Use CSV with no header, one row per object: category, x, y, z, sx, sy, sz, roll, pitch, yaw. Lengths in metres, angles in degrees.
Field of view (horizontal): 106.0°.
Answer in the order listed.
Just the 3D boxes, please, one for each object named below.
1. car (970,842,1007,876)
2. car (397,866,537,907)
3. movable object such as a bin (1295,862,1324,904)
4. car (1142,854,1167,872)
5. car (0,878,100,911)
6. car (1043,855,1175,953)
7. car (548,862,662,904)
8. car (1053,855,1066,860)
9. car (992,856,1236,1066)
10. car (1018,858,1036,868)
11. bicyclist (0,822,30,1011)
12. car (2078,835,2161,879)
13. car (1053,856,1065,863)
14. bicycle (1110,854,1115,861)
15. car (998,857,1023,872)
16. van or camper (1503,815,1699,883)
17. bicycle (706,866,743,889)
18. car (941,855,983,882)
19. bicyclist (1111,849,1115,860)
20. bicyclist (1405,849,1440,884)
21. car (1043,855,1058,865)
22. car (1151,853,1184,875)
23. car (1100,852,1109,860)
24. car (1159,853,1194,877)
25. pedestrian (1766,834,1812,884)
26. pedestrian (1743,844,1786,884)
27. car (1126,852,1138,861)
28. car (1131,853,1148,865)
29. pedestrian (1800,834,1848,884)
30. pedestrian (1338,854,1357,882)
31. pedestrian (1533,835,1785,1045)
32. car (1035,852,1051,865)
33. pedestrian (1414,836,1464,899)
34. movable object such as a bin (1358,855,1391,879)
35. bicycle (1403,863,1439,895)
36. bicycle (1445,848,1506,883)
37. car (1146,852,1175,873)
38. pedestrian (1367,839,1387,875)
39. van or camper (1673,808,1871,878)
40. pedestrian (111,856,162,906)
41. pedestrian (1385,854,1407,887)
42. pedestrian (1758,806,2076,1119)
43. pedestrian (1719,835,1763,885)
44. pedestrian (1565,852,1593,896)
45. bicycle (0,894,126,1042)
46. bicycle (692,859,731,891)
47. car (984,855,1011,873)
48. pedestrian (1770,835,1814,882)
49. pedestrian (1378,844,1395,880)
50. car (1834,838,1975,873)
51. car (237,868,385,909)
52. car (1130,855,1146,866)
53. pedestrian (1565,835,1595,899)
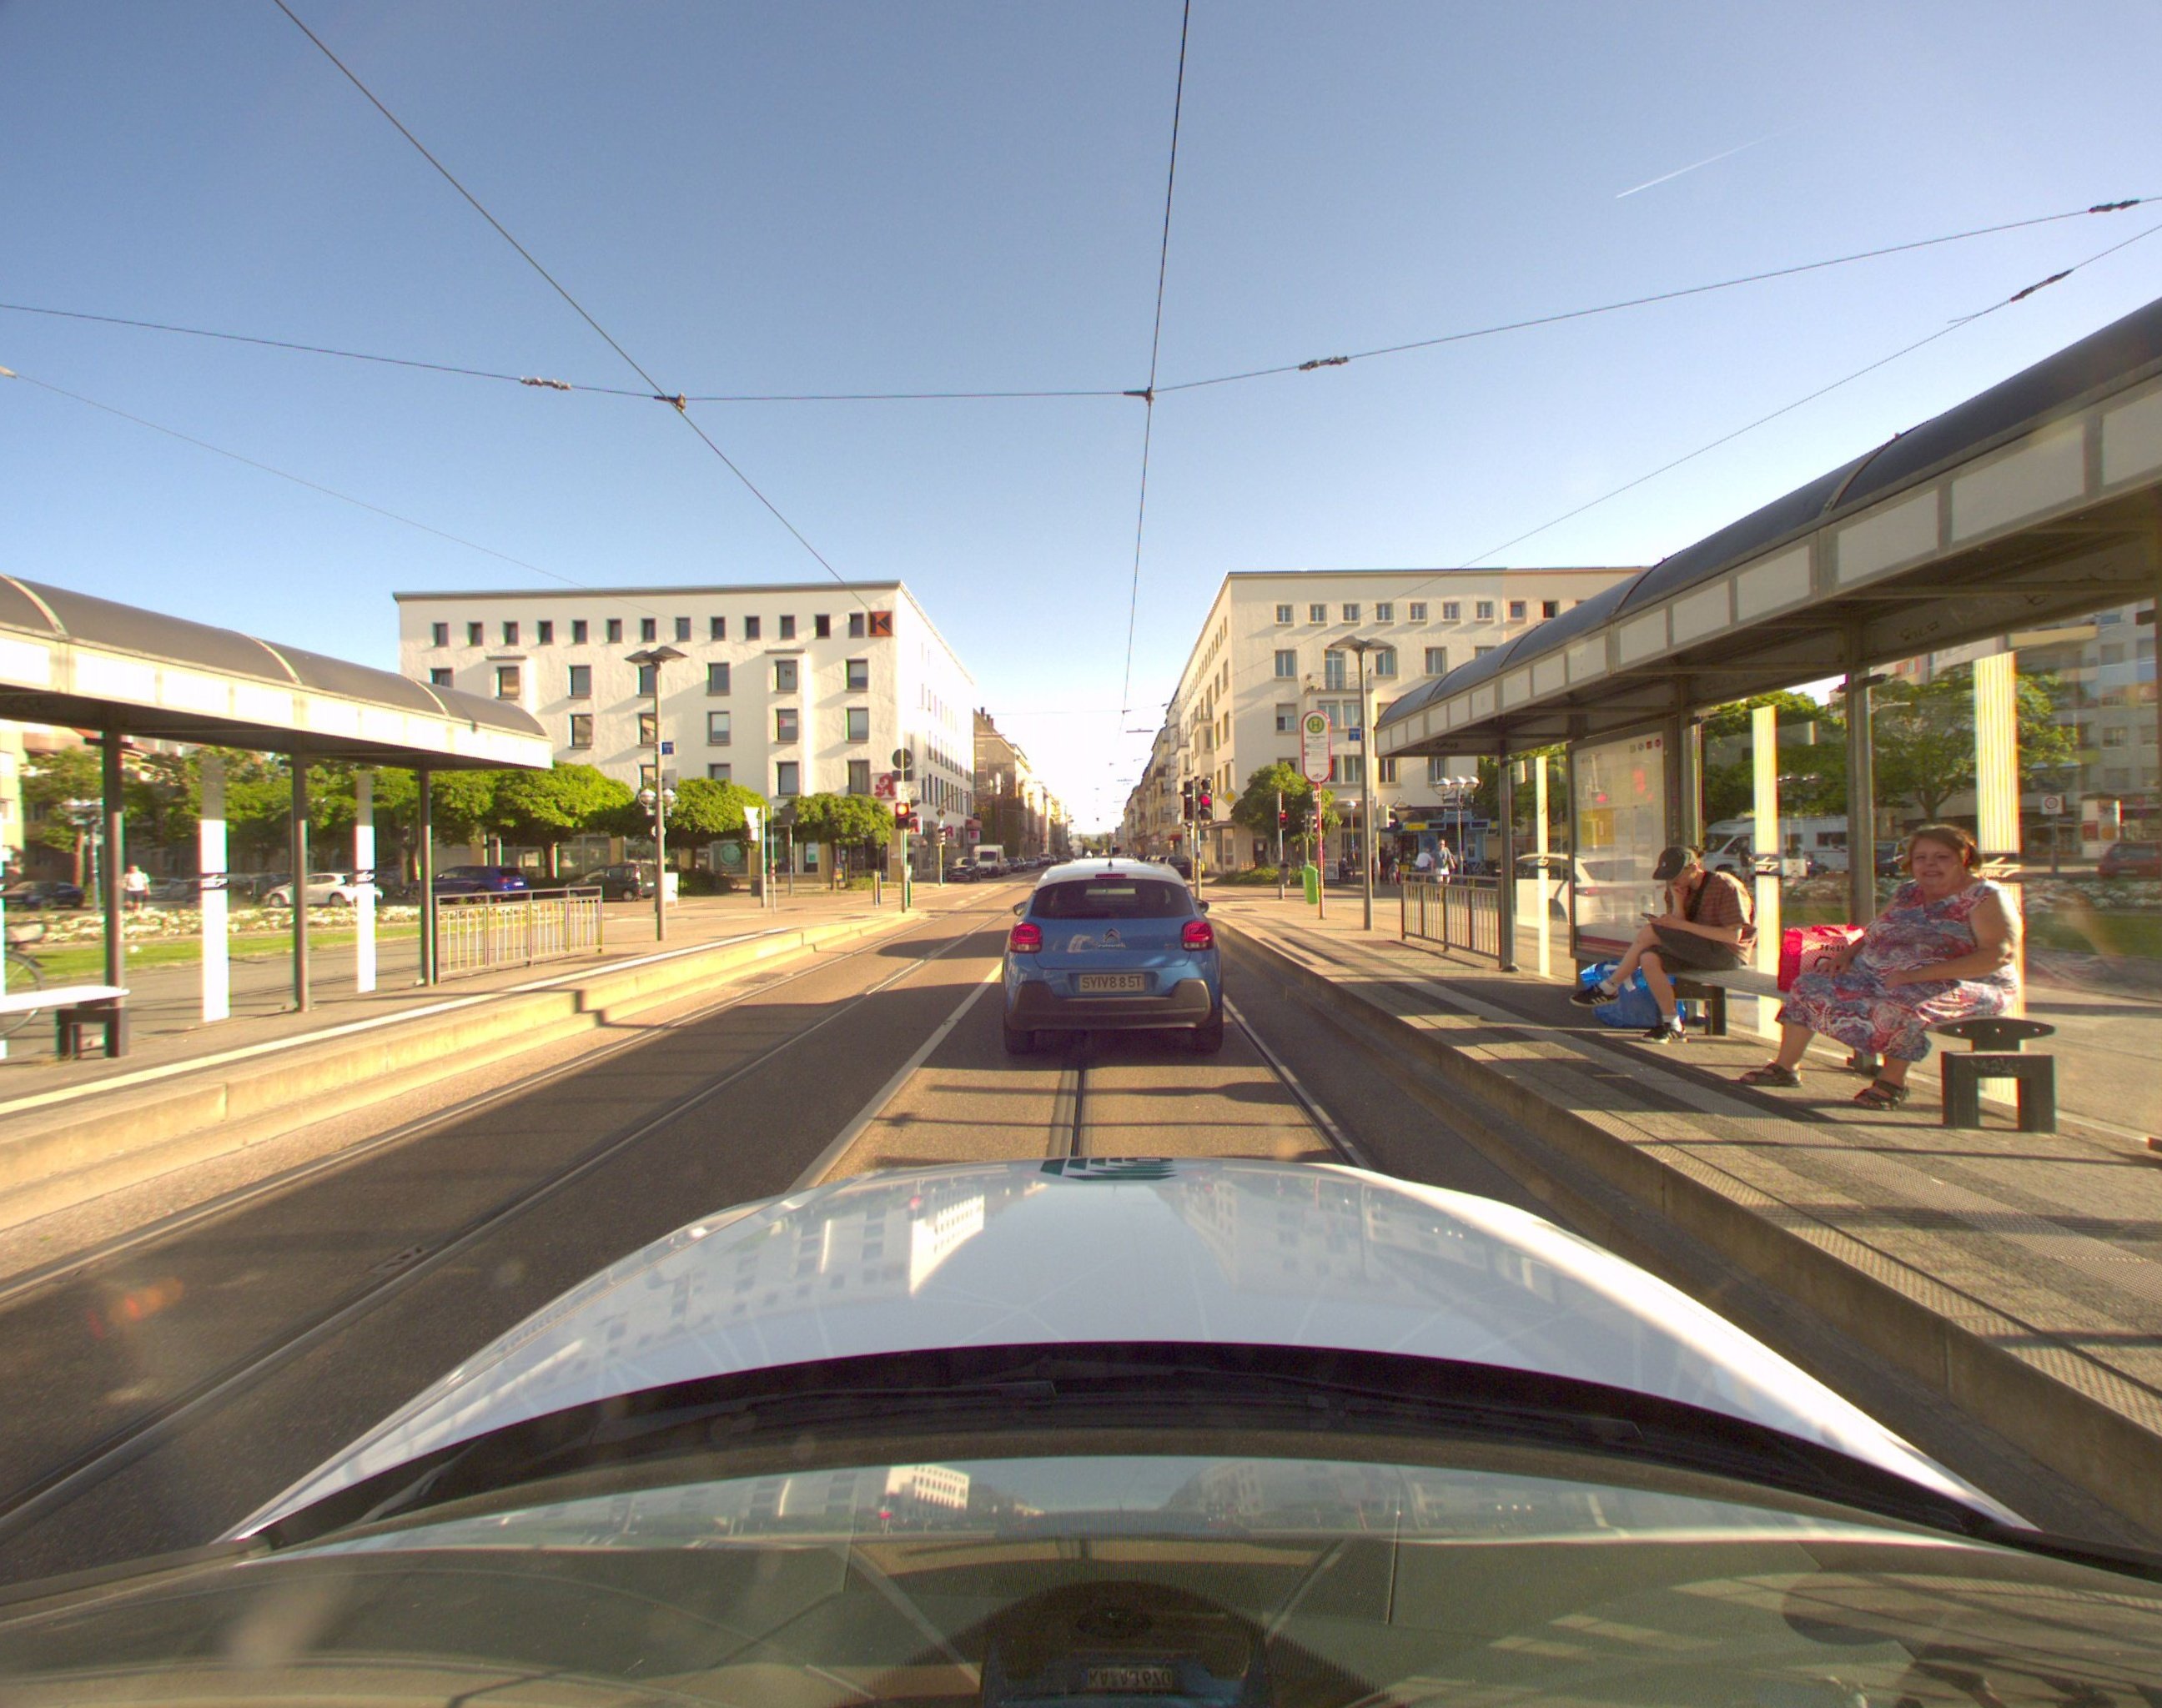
car,-7.124,0.381,63.119,2.078,2.542,6.206,0,0,1
car,-27.185,1.423,36.175,4.591,1.662,1.999,-1,0,-1
movable object such as a bin,4.348,0.550,15.512,0.447,0.786,0.489,-1,0,4
car,6.560,0.792,72.956,1.986,1.464,4.002,-1,0,2
car,-52.294,2.003,41.137,1.925,1.494,4.314,0,-1,-27
car,0.492,0.762,14.679,1.977,1.464,4.817,0,0,2
car,-21.245,1.273,36.434,3.973,1.706,1.826,-1,0,1
car,-4.862,0.775,185.211,1.981,1.156,4.528,-1,0,11
car,0.289,0.766,7.703,1.721,1.482,3.828,0,0,2
car,-6.883,1.138,103.526,1.987,1.325,3.923,0,-1,1
bicyclist,-8.771,0.481,6.052,0.822,1.455,0.880,0,-1,12
car,38.584,0.067,29.052,3.983,1.486,1.995,-1,0,-7
car,-4.180,1.011,154.456,1.986,1.156,4.002,-1,0,2
bicycle,6.312,0.674,162.472,0.916,1.389,3.133,-1,0,2
car,-6.756,1.028,78.484,1.987,1.398,4.157,0,-1,1
van or camper,22.857,-0.224,36.013,7.093,2.747,2.372,-1,1,2
bicycle,-19.108,1.248,43.708,0.615,1.190,2.624,-1,0,5
car,-7.656,0.920,52.760,1.987,1.569,4.403,2,-1,1
bicyclist,6.317,0.093,162.079,0.806,2.014,0.923,0,-1,2
bicyclist,12.145,0.425,28.971,0.941,1.225,0.939,0,0,36
car,-5.109,1.003,136.980,1.946,1.552,3.942,0,-1,4
car,6.033,0.680,57.252,1.986,1.464,4.002,-1,0,2
car,5.885,0.507,202.871,1.986,1.772,4.002,-1,0,2
car,6.111,0.684,52.444,1.902,1.464,4.002,-1,0,2
pedestrian,22.915,0.173,26.373,0.897,1.585,0.663,-1,0,5
pedestrian,22.659,0.333,27.012,0.897,1.279,0.606,-1,0,6
car,8.324,0.446,133.179,1.986,1.464,4.002,-1,0,2
car,7.303,0.589,102.051,1.986,1.464,4.507,-1,0,2
pedestrian,24.095,0.166,26.415,0.897,1.585,0.663,-1,0,5
pedestrian,12.713,0.657,38.863,0.733,1.316,0.631,-1,0,25
pedestrian,3.719,0.519,5.340,0.995,1.225,0.923,2,-1,1
car,-5.881,0.711,127.078,1.997,2.014,4.694,0,-1,4
pedestrian,11.028,0.421,25.133,0.978,1.878,1.128,-1,-1,-1
movable object such as a bin,14.442,0.647,40.053,1.194,1.153,1.218,-1,0,2
bicycle,12.097,0.878,28.929,0.711,1.061,2.338,0,0,35
bicycle,17.719,0.522,36.580,2.376,1.531,0.726,1,0,0
car,6.066,0.645,62.711,1.986,1.501,4.002,-1,0,2
pedestrian,15.322,0.167,42.222,0.781,1.839,0.679,-1,0,5
van or camper,30.121,-0.464,35.711,6.375,2.839,2.381,-1,0,5
pedestrian,-34.731,0.979,29.956,0.938,1.817,0.872,-1,0,13
pedestrian,14.175,0.745,36.623,0.727,1.409,0.755,-1,3,2
pedestrian,3.914,0.474,3.871,0.855,1.334,0.623,2,-1,1
pedestrian,22.648,0.214,27.955,0.897,1.685,0.696,-1,0,5
pedestrian,13.320,0.535,21.800,0.466,1.169,0.559,0,-1,10
bicycle,-8.770,0.902,6.103,0.723,1.113,1.983,-1,0,12
bicycle,-19.832,1.109,43.750,0.614,1.607,2.625,-1,0,6
car,-7.110,0.878,69.785,1.881,1.496,3.562,0,-1,1
pedestrian,24.526,0.170,28.102,0.897,1.585,0.663,-1,0,5
pedestrian,15.556,0.399,41.473,0.650,1.839,0.660,-1,0,5
car,36.666,0.070,36.390,3.959,1.511,2.007,0,-1,13
car,-33.515,1.493,35.540,4.591,1.606,1.855,-1,0,-1
car,7.540,0.857,107.377,1.985,1.464,4.003,-1,0,3
pedestrian,13.799,0.345,22.514,0.554,1.745,0.528,0,-1,12
